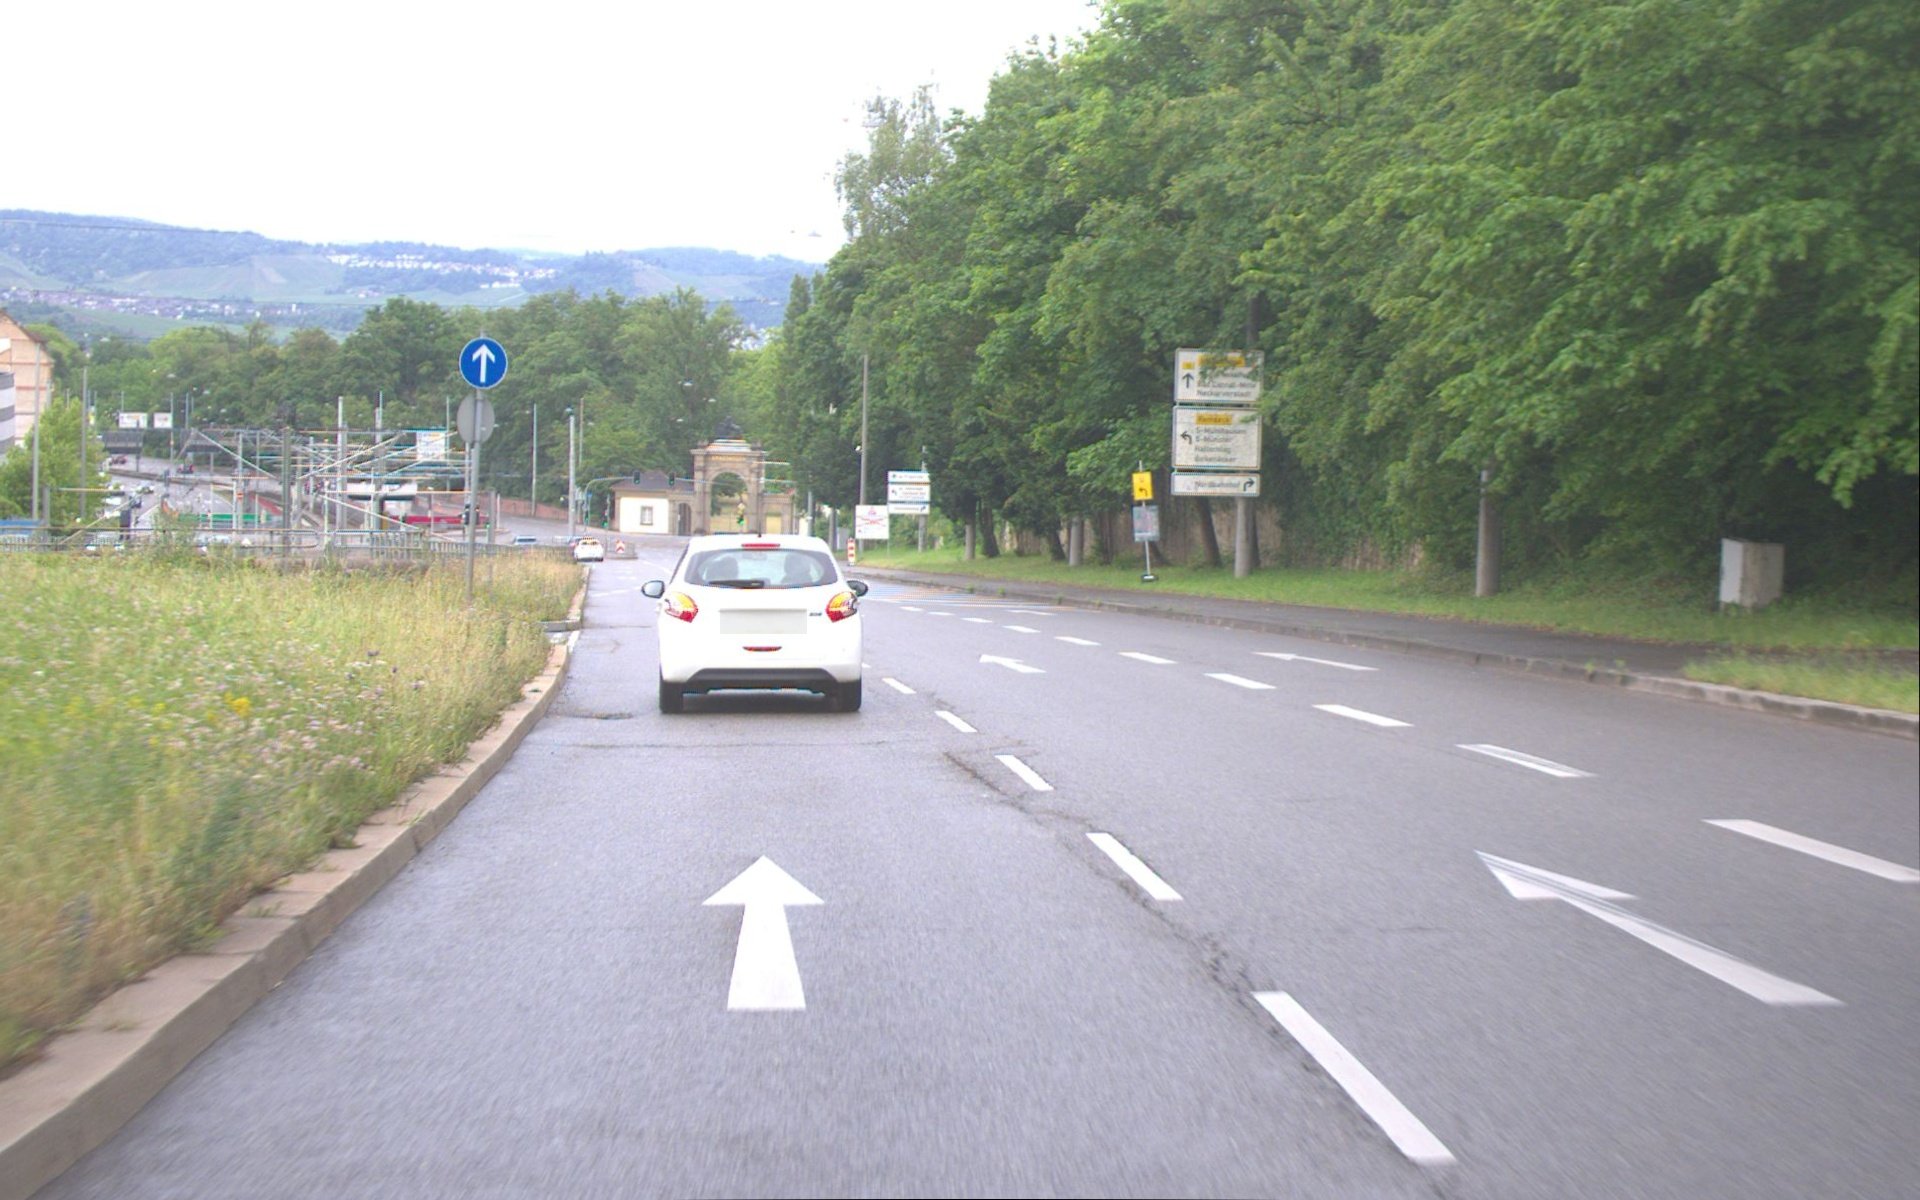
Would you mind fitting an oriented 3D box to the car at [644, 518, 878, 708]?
[{"bbox_3d":[-1.700,0.057,29.539,1.868,1.505,3.900,0,2,-3],"label":"car"}]

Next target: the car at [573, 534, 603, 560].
[{"bbox_3d":[-24.151,-3.459,223.319,1.822,1.600,4.001,-2,1,-4],"label":"car"}]
